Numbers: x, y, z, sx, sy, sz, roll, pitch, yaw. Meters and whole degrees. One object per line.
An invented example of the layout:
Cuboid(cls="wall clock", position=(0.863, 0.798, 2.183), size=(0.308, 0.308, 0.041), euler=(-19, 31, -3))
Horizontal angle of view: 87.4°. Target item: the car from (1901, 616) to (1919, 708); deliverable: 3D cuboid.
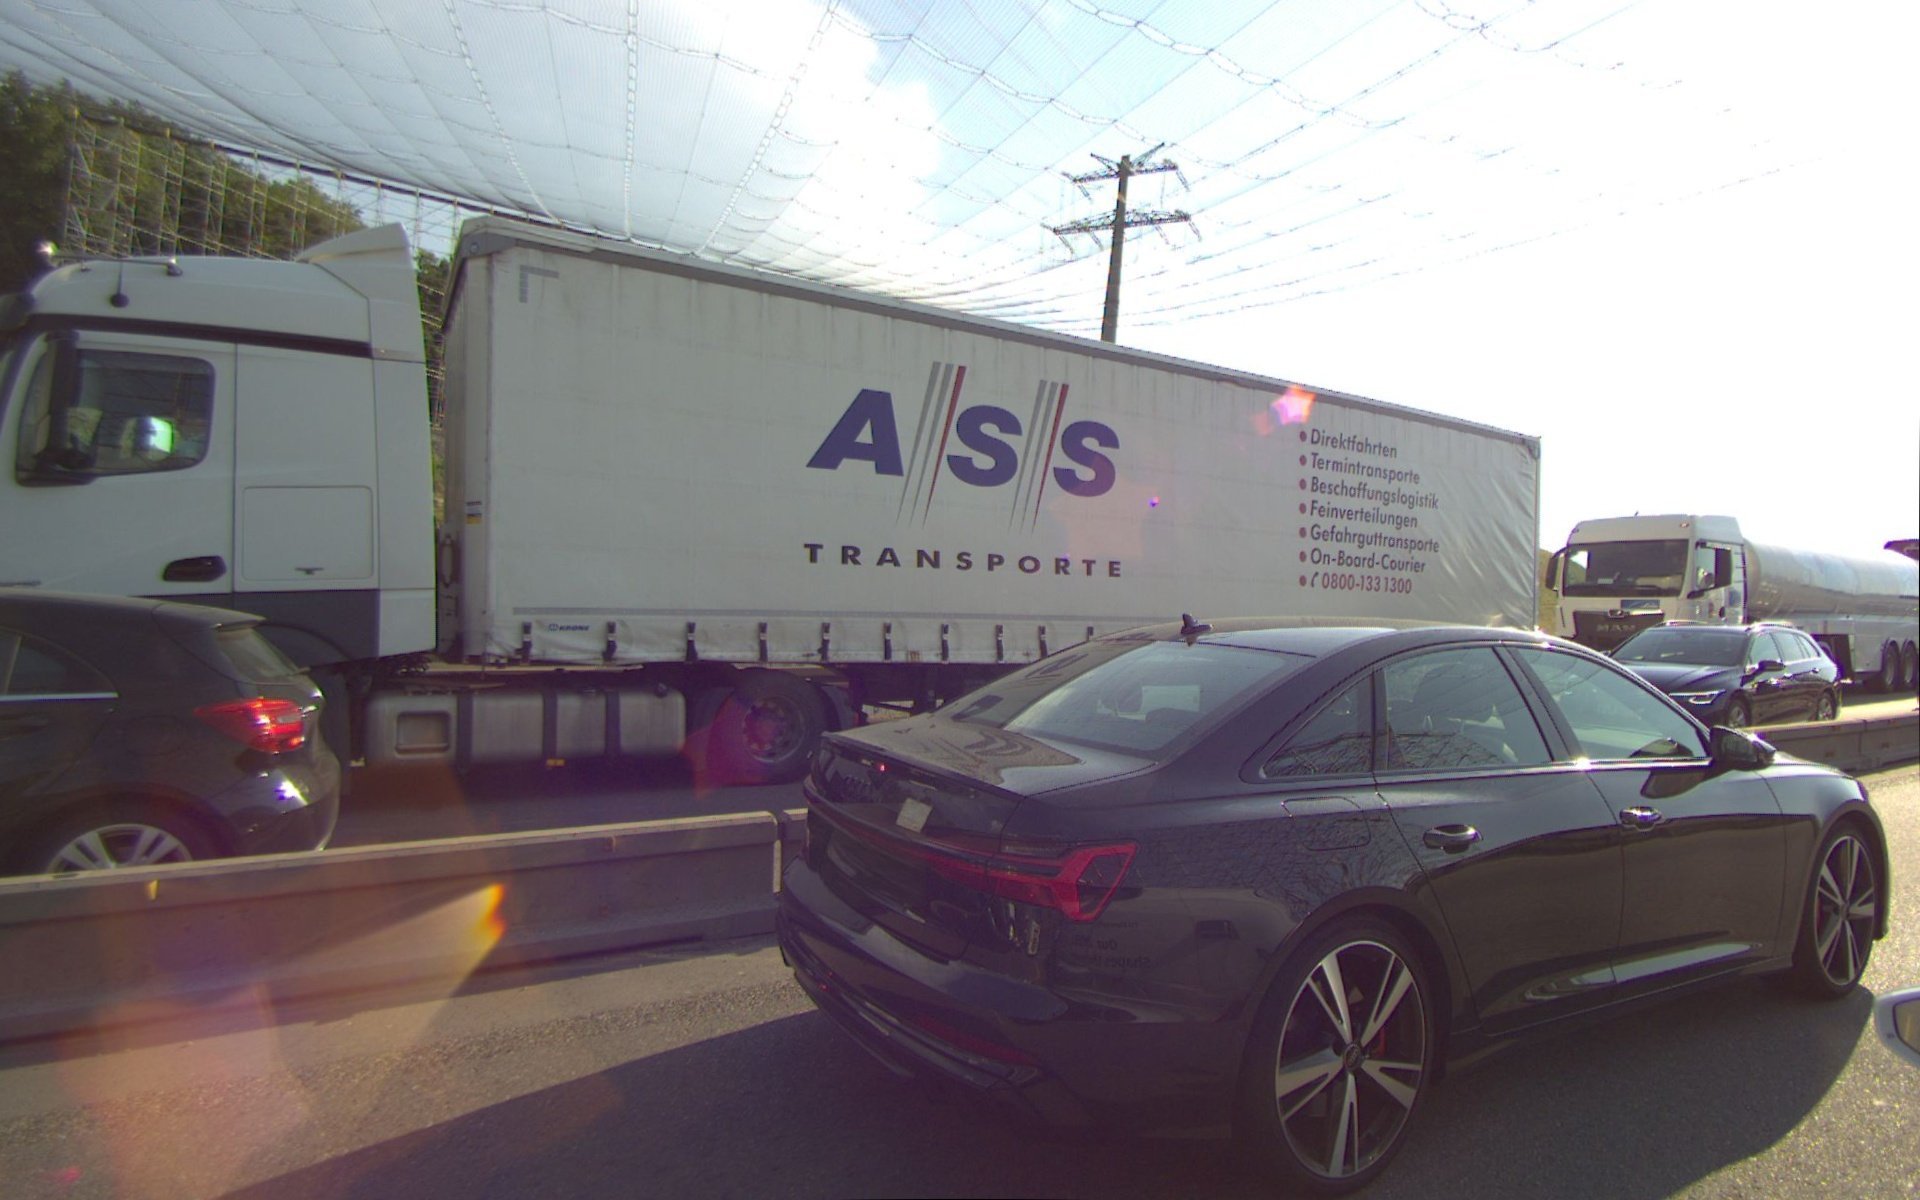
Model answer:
Cuboid(cls="car", position=(18.709, 1.134, 18.081), size=(3.902, 1.608, 1.740), euler=(2, 0, -34))

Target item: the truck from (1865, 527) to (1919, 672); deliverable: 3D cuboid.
Cuboid(cls="truck", position=(27.726, 0.065, 28.013), size=(5.560, 3.835, 2.417), euler=(2, 0, -34))

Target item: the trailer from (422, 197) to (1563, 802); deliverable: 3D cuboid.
Cuboid(cls="trailer", position=(1.887, -0.501, 11.411), size=(13.942, 4.016, 2.414), euler=(2, 0, -32))

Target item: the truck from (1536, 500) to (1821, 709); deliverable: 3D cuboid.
Cuboid(cls="truck", position=(13.580, 0.140, 18.892), size=(5.555, 3.415, 2.401), euler=(2, 0, -32))

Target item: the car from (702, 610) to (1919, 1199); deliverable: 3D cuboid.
Cuboid(cls="car", position=(1.691, 0.795, 3.921), size=(4.902, 1.417, 1.925), euler=(1, 0, -30))

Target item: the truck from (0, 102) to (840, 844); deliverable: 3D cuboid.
Cuboid(cls="truck", position=(-4.014, -0.649, 7.815), size=(5.554, 4.099, 2.460), euler=(2, 0, -32))

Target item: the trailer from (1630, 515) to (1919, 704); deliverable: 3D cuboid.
Cuboid(cls="trailer", position=(19.037, 0.317, 22.212), size=(11.918, 3.406, 2.294), euler=(2, 0, -32))

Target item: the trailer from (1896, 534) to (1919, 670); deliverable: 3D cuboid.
Cuboid(cls="trailer", position=(32.442, 0.208, 31.167), size=(11.927, 3.840, 2.293), euler=(2, 0, -34))

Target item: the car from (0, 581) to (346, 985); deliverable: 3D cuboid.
Cuboid(cls="car", position=(-4.519, 0.601, 3.650), size=(3.857, 1.394, 1.599), euler=(2, 0, -32))

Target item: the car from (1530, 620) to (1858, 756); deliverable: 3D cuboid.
Cuboid(cls="car", position=(9.261, 1.009, 12.616), size=(4.193, 1.417, 1.785), euler=(2, 0, -30))
